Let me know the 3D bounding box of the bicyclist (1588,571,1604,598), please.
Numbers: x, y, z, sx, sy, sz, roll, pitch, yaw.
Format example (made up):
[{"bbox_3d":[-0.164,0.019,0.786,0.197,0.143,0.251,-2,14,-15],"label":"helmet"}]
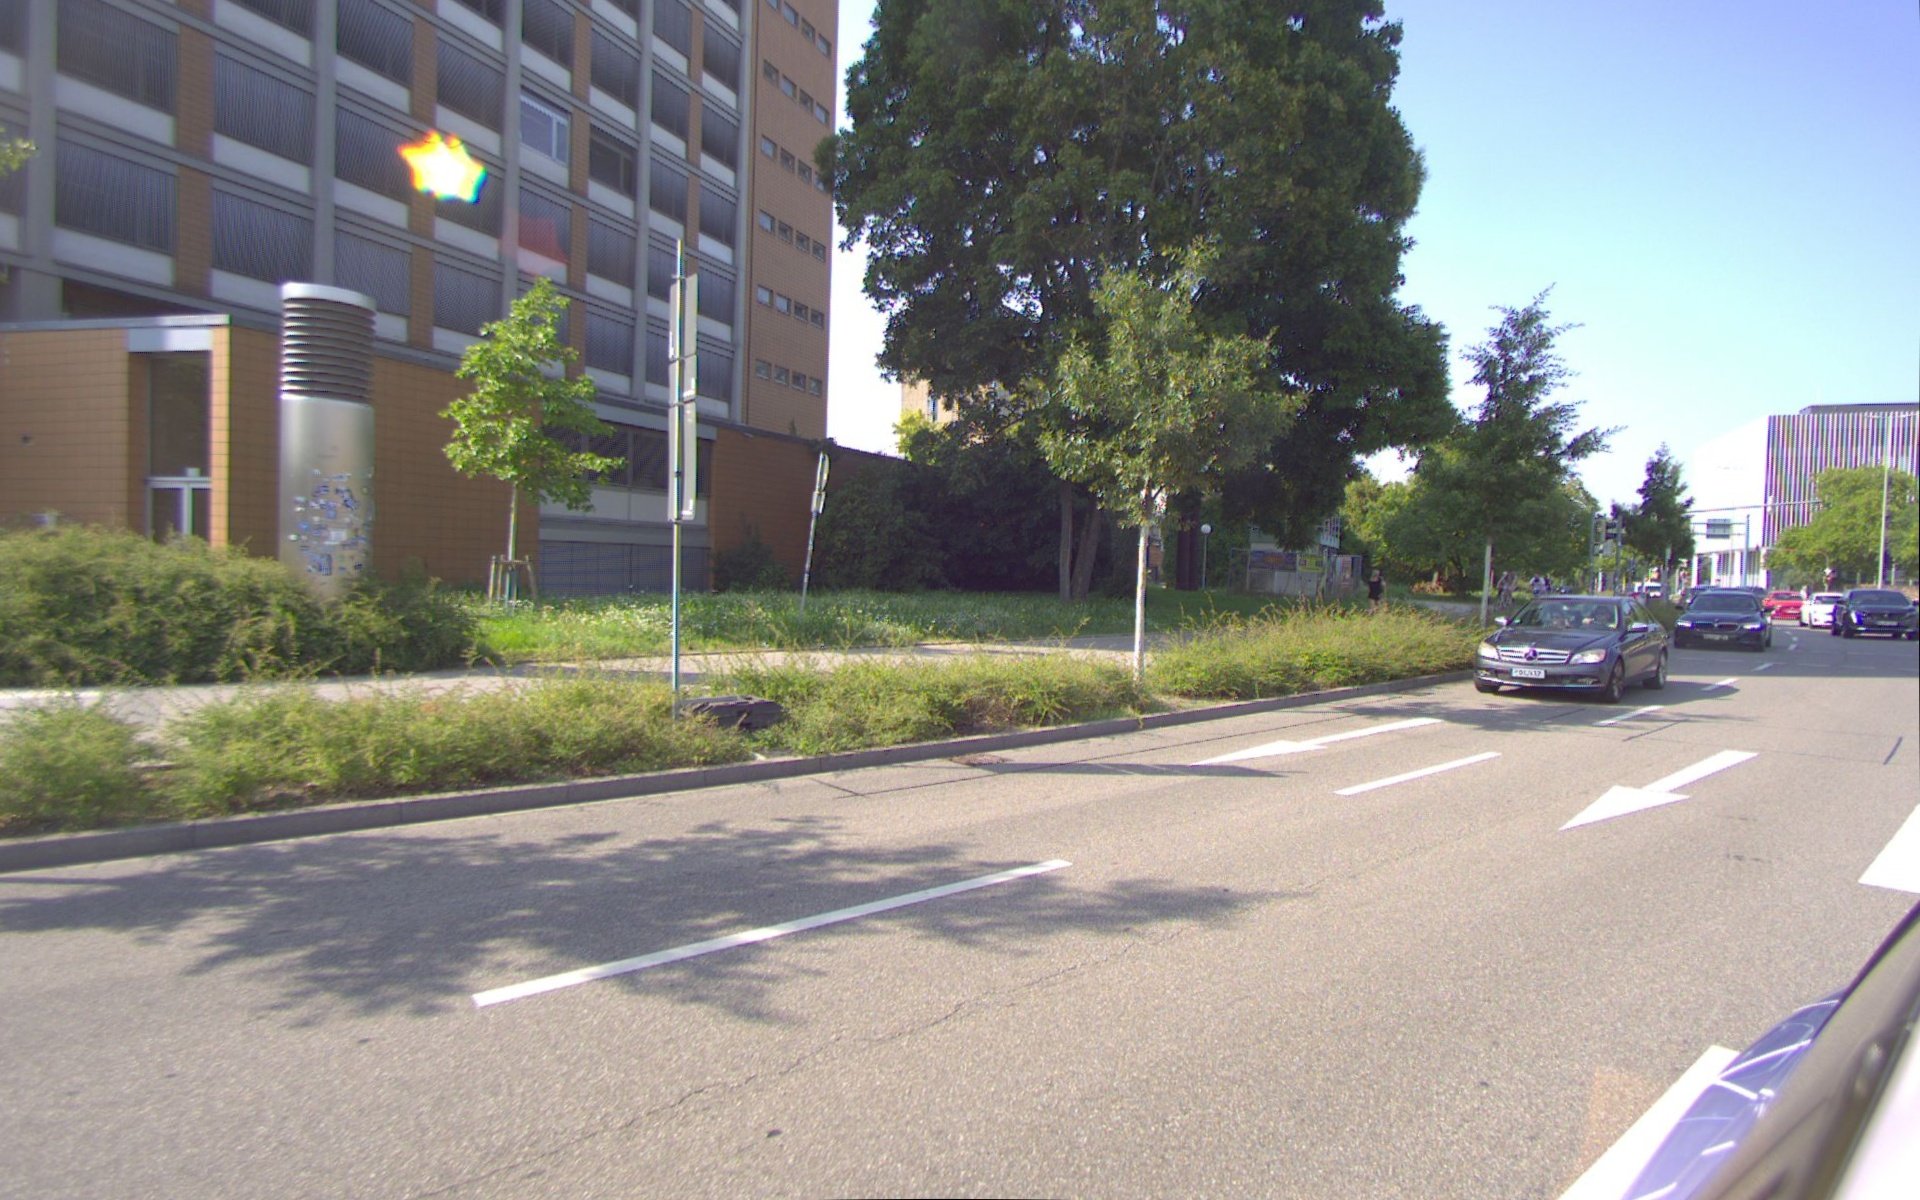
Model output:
[{"bbox_3d":[40.955,-1.012,65.184,0.766,1.697,0.916,2,1,27],"label":"bicyclist"}]

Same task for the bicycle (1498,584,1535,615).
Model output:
[{"bbox_3d":[21.840,-0.036,39.714,0.770,1.131,2.269,2,2,41],"label":"bicycle"}]

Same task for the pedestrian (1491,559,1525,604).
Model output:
[{"bbox_3d":[23.006,-0.776,42.477,0.957,1.804,0.988,5,3,40],"label":"pedestrian"}]

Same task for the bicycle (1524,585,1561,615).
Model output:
[{"bbox_3d":[22.751,-0.004,39.530,0.771,1.131,2.269,3,2,42],"label":"bicycle"}]

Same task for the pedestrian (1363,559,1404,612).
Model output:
[{"bbox_3d":[11.893,-0.404,28.441,0.842,1.461,0.726,0,2,-40],"label":"pedestrian"}]

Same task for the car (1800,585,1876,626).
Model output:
[{"bbox_3d":[35.938,0.163,41.530,1.772,1.501,4.478,3,2,34],"label":"car"}]

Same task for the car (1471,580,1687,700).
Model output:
[{"bbox_3d":[9.236,0.484,14.943,4.300,1.460,1.684,0,3,-44],"label":"car"}]

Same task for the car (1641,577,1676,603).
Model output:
[{"bbox_3d":[56.010,-0.833,81.254,1.672,1.965,4.331,3,2,27],"label":"car"}]

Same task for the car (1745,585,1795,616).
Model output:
[{"bbox_3d":[49.955,-0.001,62.471,1.770,1.713,4.483,3,2,31],"label":"car"}]

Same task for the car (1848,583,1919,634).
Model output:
[{"bbox_3d":[30.306,0.240,32.814,1.677,1.510,4.318,3,2,34],"label":"car"}]

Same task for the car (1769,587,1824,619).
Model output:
[{"bbox_3d":[43.011,0.121,52.103,1.676,1.510,4.320,3,2,33],"label":"car"}]

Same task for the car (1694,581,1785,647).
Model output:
[{"bbox_3d":[20.231,0.302,26.374,1.679,1.510,4.611,3,2,37],"label":"car"}]

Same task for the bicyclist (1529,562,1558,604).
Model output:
[{"bbox_3d":[22.836,-0.656,39.588,0.771,1.612,0.910,3,2,42],"label":"bicyclist"}]

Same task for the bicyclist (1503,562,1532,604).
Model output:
[{"bbox_3d":[21.865,-0.669,39.708,0.770,1.612,0.910,2,2,42],"label":"bicyclist"}]

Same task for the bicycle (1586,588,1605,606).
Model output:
[{"bbox_3d":[40.935,-0.200,65.184,0.766,1.131,2.283,2,2,26],"label":"bicycle"}]

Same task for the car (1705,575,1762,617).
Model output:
[{"bbox_3d":[33.472,-0.206,43.875,1.773,1.625,4.365,3,3,36],"label":"car"}]
